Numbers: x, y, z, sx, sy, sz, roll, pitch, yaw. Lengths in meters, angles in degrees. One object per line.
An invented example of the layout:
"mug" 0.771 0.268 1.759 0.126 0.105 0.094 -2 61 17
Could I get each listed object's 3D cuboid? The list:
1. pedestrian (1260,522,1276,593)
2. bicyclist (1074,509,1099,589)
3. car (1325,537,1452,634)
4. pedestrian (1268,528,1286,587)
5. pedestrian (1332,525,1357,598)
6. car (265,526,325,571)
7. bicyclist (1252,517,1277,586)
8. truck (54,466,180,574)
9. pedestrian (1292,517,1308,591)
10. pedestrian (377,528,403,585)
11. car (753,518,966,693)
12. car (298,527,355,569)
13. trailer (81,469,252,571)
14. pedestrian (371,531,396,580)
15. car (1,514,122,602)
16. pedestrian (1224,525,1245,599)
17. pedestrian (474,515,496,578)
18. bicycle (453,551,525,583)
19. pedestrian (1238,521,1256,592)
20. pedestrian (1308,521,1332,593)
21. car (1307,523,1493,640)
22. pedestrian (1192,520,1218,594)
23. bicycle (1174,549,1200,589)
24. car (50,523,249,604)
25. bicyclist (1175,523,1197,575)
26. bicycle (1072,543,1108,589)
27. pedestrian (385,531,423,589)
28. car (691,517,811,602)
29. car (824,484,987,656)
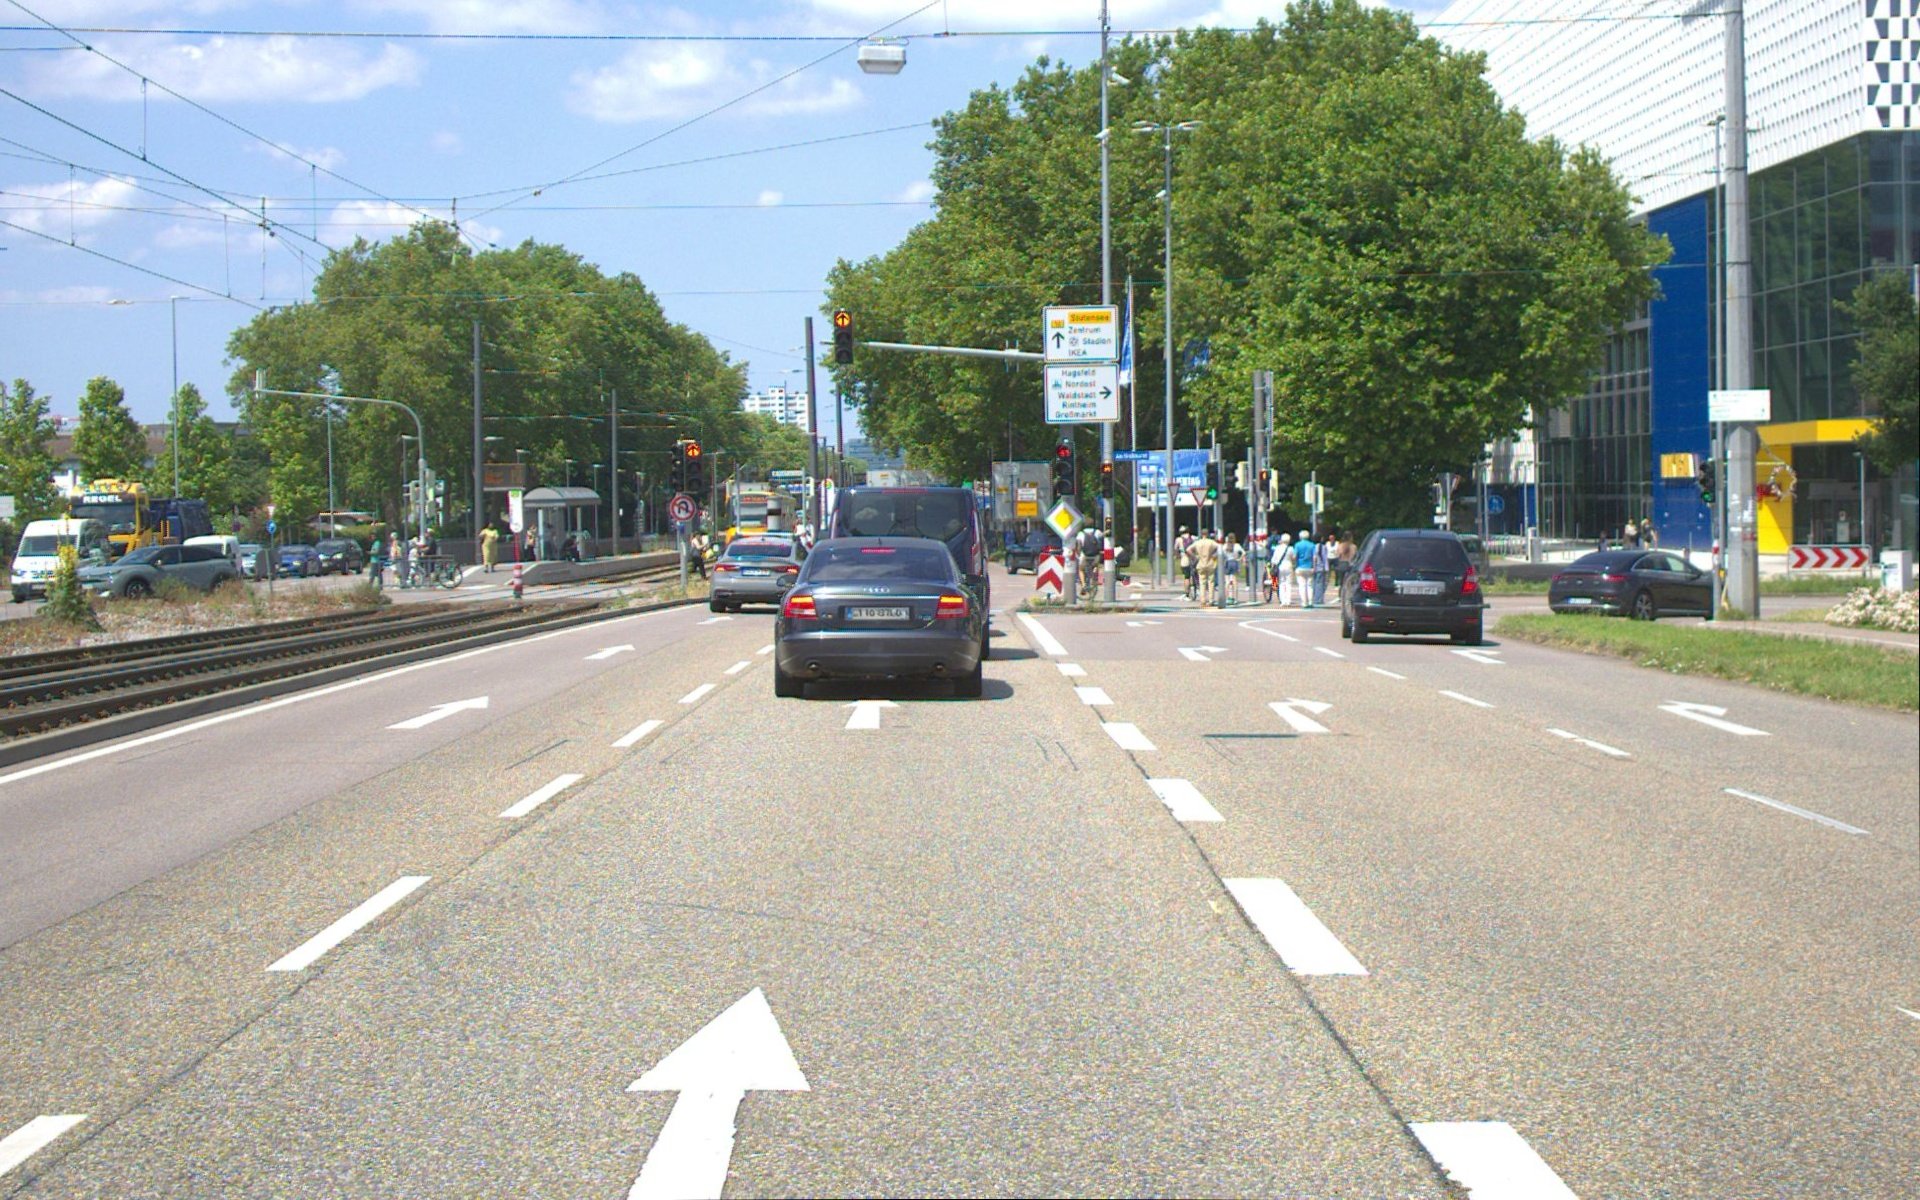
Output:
"pedestrian" 7.055 -0.978 78.790 0.339 1.629 0.377 1 1 3
"bicyclist" 2.833 -1.144 76.967 0.528 1.783 1.088 0 1 0
"car" 7.165 -0.268 57.286 1.994 1.481 4.165 2 2 8
"pedestrian" 7.087 -0.953 76.795 0.372 1.299 0.365 1 1 3
"pedestrian" 8.804 -0.888 78.793 0.521 1.664 0.494 1 1 3
"car" -28.288 -2.208 146.314 1.817 1.876 4.000 0 1 -1
"bicyclist" 7.875 -1.255 88.824 0.529 1.758 0.827 0 1 13
"truck" -28.829 -2.734 117.808 2.767 3.557 6.440 0 1 -1
"pedestrian" 7.582 -1.030 76.724 0.320 1.629 0.377 1 1 3
"pedestrian" -16.563 -1.267 99.839 0.685 1.631 0.573 0 1 -4
"car" -0.868 -0.002 31.388 1.792 1.450 4.000 -1 2 0
"car" -28.273 -2.330 153.513 1.817 1.876 4.000 0 1 -1
"trailer" -28.922 -2.914 126.093 2.767 3.506 15.879 0 1 -1
"pedestrian" -16.896 -1.313 100.761 0.685 1.438 0.573 0 1 -4
"car" -28.307 -1.365 108.531 2.243 2.580 6.236 -3 2 -1
"pedestrian" 6.120 -0.854 76.699 0.445 1.629 0.430 1 1 3
"pedestrian" -15.251 -1.720 110.377 0.685 2.007 0.573 0 1 -4
"bicycle" -13.750 -0.969 100.326 2.055 0.922 0.753 0 1 -10
"pedestrian" 6.594 -1.002 78.895 0.381 1.629 0.377 1 1 3
"pedestrian" 8.241 -0.983 78.790 0.504 1.629 0.449 1 1 3
"car" 6.017 -0.284 47.444 1.993 1.481 4.000 1 1 0
"pedestrian" 5.461 -0.963 76.748 0.554 1.629 0.433 1 1 3
"bicycle" 5.187 -0.711 78.700 0.550 0.874 1.697 1 1 2
"car" -20.052 -0.900 85.160 1.999 1.911 4.399 3 2 43
"bicyclist" 5.173 -1.176 78.743 0.470 1.189 0.791 0 1 2
"bicycle" 2.913 -0.777 77.279 0.688 0.990 2.752 1 1 0
"pedestrian" -16.718 -1.209 103.372 0.824 1.714 0.774 1 1 22
"car" -3.875 -0.785 64.252 1.993 1.481 4.000 1 1 0
"car" -0.642 -0.396 40.980 1.836 1.943 4.000 0 1 -1
